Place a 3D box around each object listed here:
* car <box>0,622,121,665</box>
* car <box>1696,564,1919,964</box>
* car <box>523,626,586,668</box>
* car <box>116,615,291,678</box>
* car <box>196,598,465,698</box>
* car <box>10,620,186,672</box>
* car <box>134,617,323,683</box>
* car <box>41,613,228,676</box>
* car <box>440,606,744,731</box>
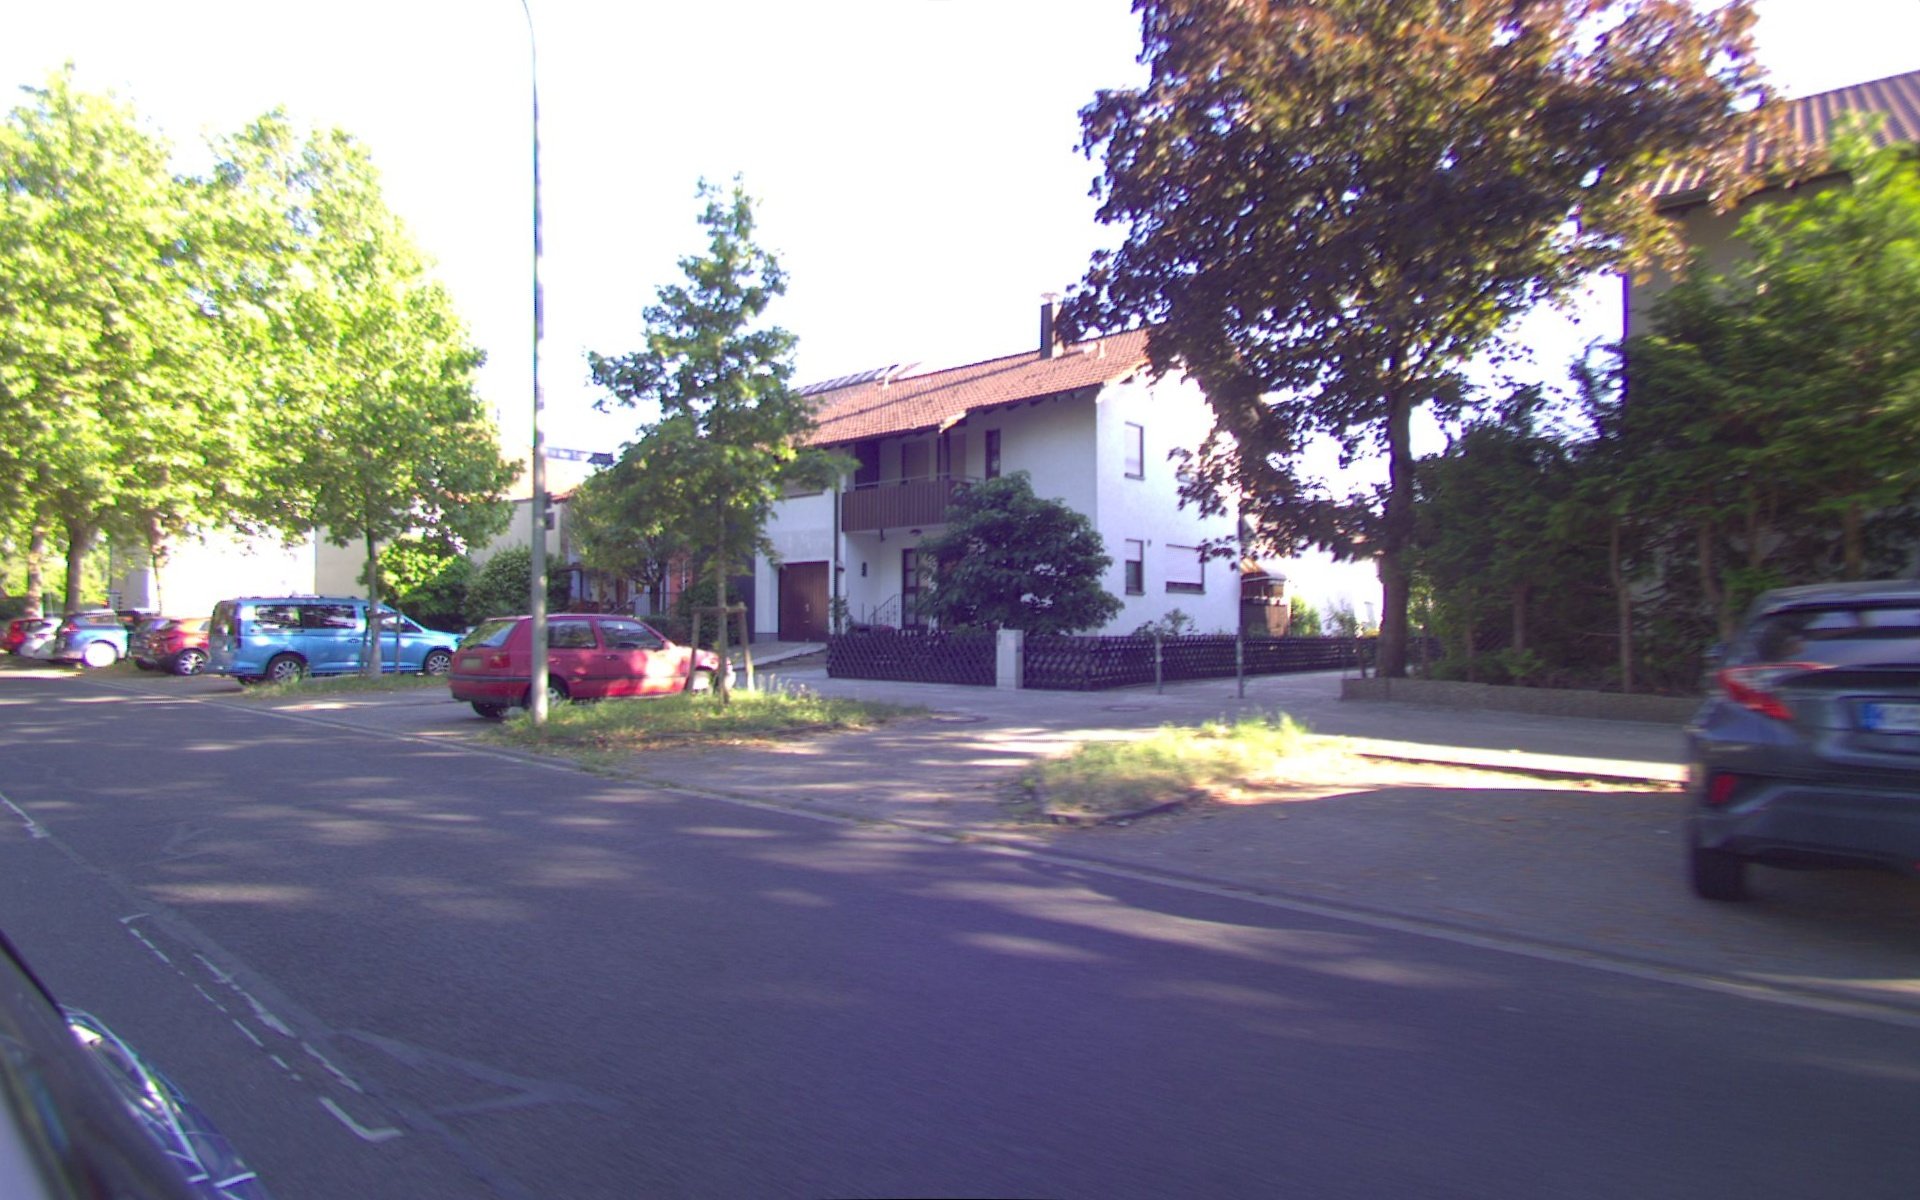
[{"bbox_3d":[-35.866,1.674,40.071,1.828,1.546,3.731,-1,-1,36],"label":"car"},{"bbox_3d":[5.110,0.617,5.236,1.816,1.530,3.947,-2,-1,40],"label":"car"},{"bbox_3d":[-11.350,1.306,28.340,0.699,1.125,1.499,-1,-2,39],"label":"car"},{"bbox_3d":[-20.698,1.229,27.812,1.722,1.528,3.483,-2,0,34],"label":"car"},{"bbox_3d":[-12.993,0.907,21.119,1.992,1.838,4.345,-1,0,37],"label":"car"},{"bbox_3d":[-28.405,1.463,33.472,1.872,1.512,4.124,-1,-1,36],"label":"car"},{"bbox_3d":[-18.766,1.234,26.075,1.779,1.528,3.607,-2,-1,38],"label":"car"},{"bbox_3d":[-24.574,1.269,30.242,1.829,1.729,4.052,-1,-1,38],"label":"car"},{"bbox_3d":[-5.137,0.869,14.534,1.662,1.530,3.836,-1,-1,37],"label":"car"}]
